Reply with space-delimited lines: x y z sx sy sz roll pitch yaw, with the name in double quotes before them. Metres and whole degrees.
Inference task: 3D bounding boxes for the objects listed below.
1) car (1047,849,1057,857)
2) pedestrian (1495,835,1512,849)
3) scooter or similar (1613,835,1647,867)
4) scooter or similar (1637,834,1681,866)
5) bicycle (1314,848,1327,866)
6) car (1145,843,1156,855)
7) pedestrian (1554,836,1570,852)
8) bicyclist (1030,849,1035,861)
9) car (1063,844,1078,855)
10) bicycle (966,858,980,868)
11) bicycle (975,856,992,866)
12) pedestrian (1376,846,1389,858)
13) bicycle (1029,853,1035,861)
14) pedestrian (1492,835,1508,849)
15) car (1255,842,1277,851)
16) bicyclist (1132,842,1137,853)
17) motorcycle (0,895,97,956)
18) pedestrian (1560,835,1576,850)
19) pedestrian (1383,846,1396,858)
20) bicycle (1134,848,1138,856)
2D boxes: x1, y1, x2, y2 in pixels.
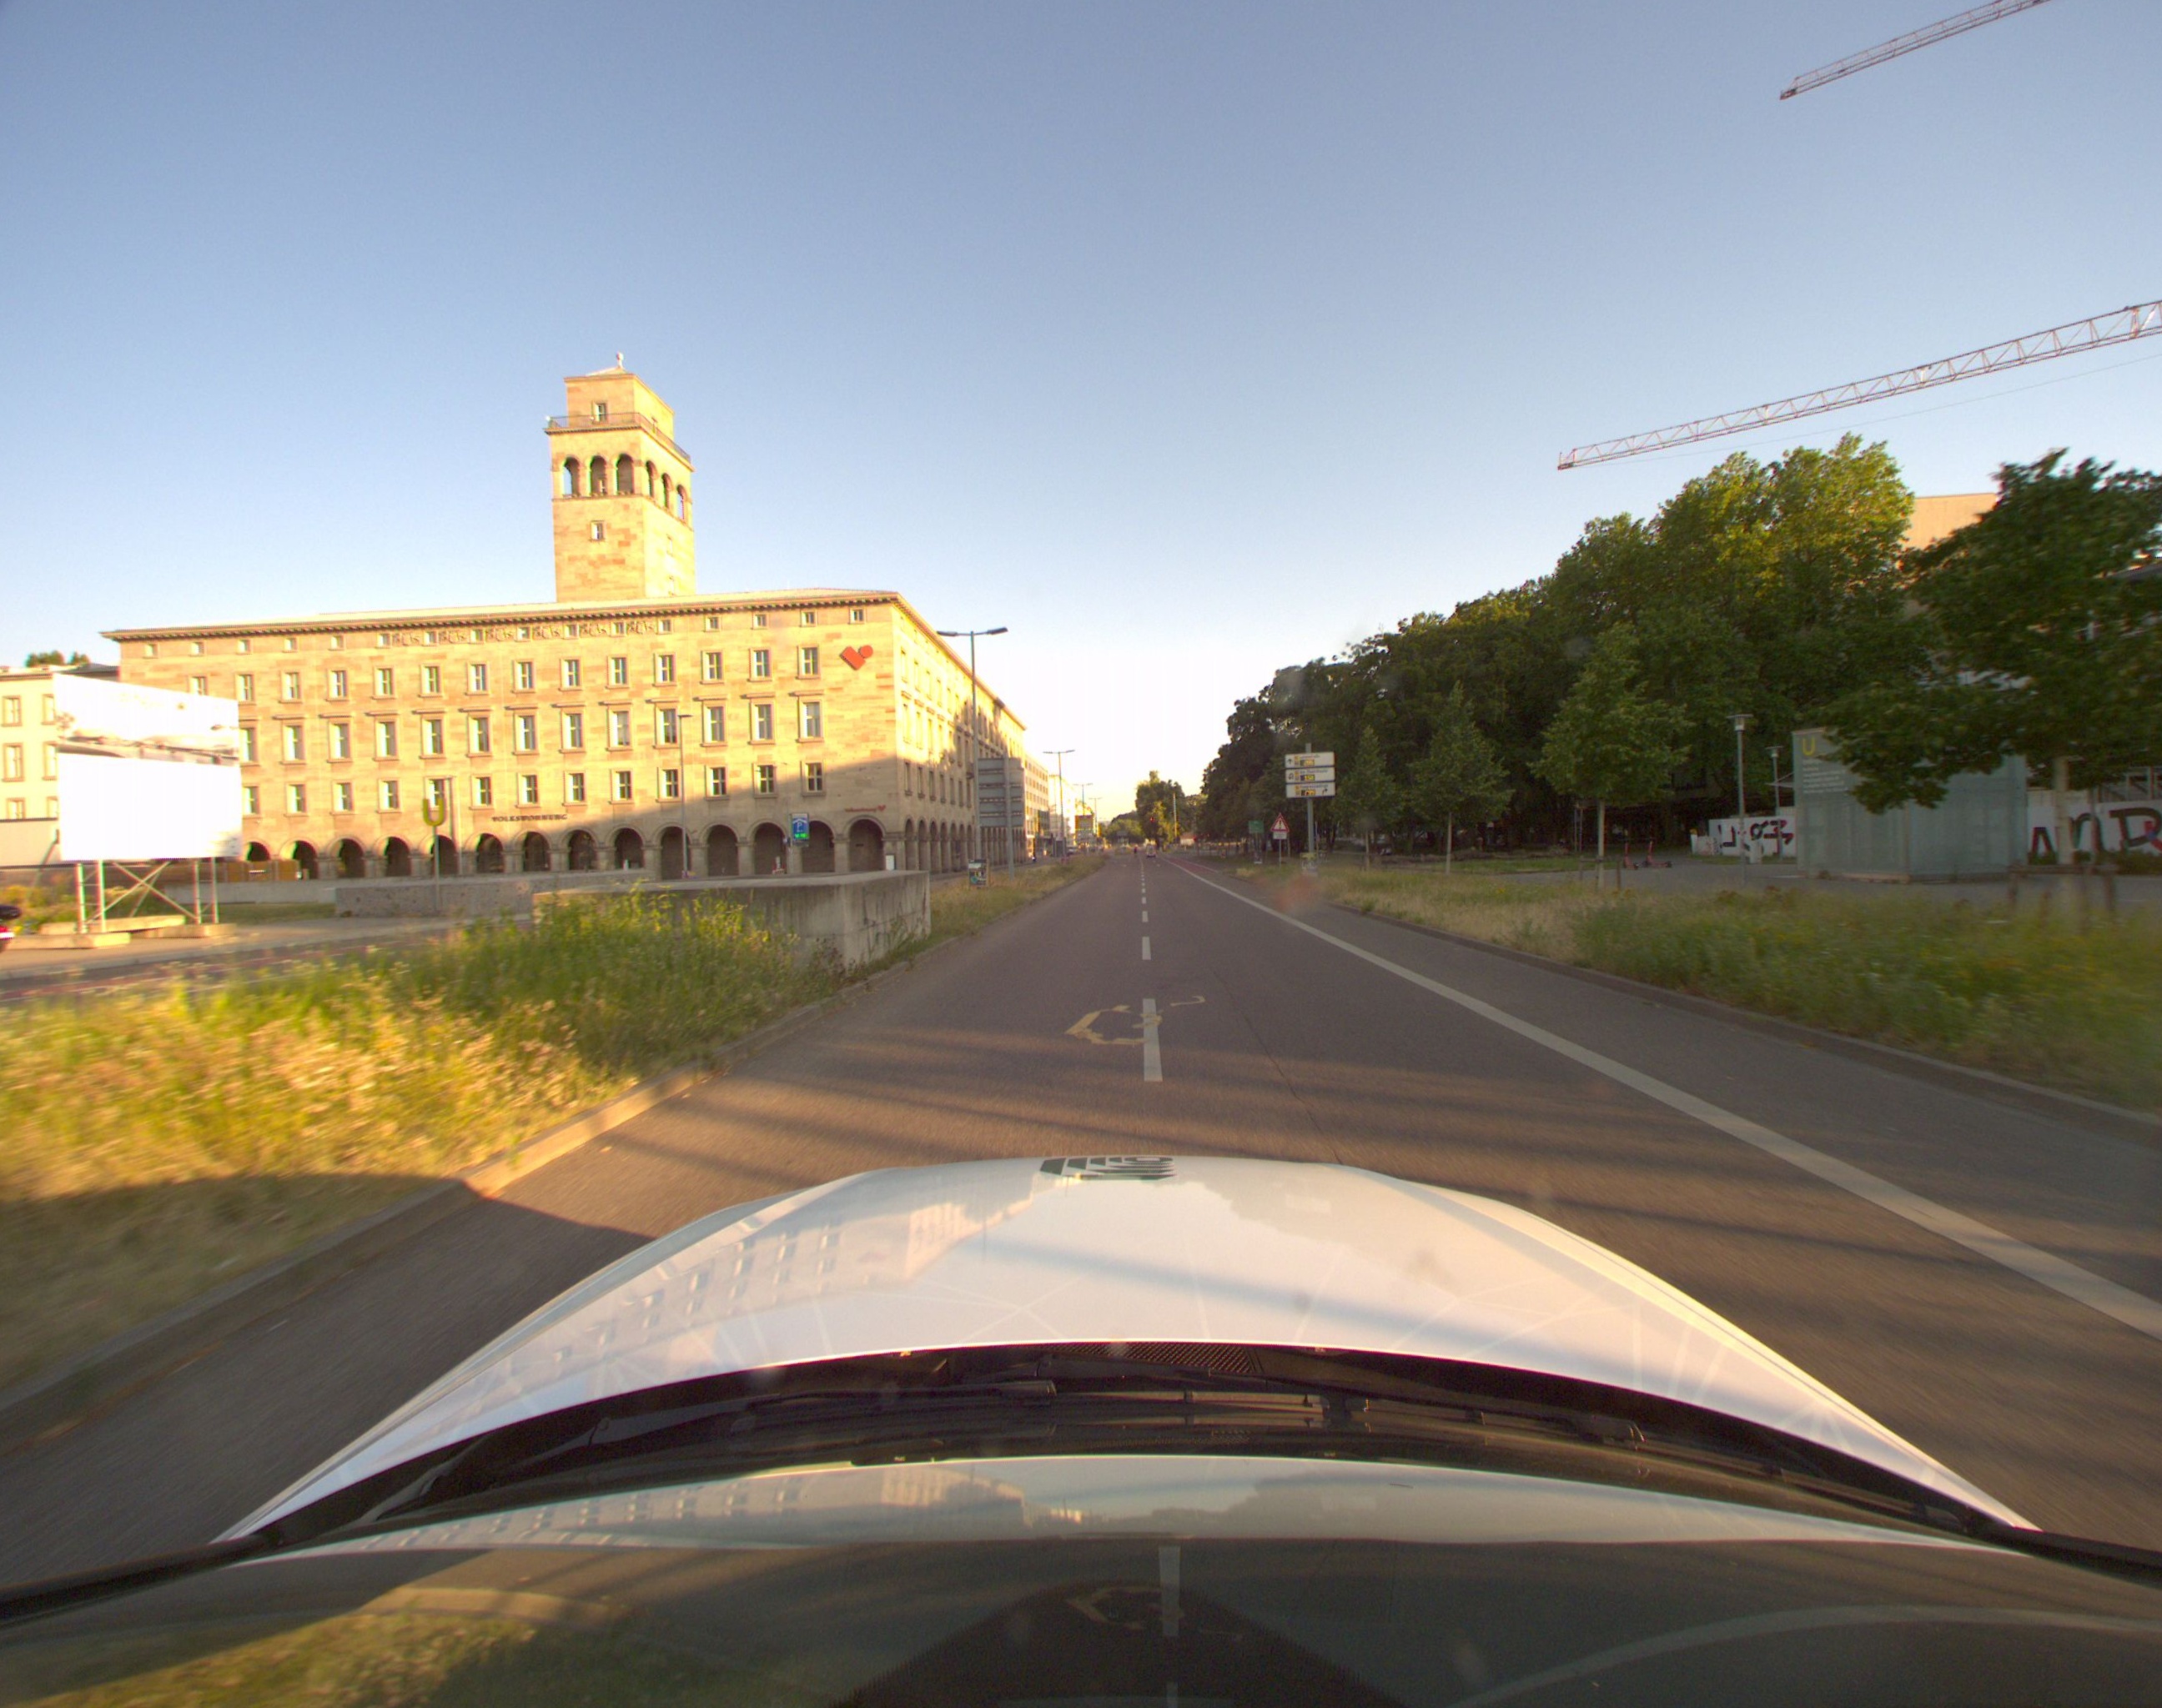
"car" -6.489 -0.227 180.028 1.789 1.475 4.002 -2 -2 3
"pedestrian" 38.401 -1.076 74.003 1.126 1.260 0.907 -2 0 6
"scooter or similar" 21.569 -0.130 32.025 0.421 1.220 1.400 -5 0 4
"scooter or similar" 22.736 -0.164 32.047 0.472 1.220 1.573 -5 0 -3
"bicycle" 15.270 0.178 51.949 0.490 1.005 1.909 -5 0 23
"car" 10.275 -0.729 120.467 1.452 1.780 2.569 -2 0 6
"pedestrian" 38.000 -0.782 64.333 0.784 1.164 0.766 -2 0 -2
"bicyclist" -6.731 0.117 111.967 0.534 1.693 0.749 -2 0 3
"car" -2.615 -1.164 211.019 2.160 2.385 6.013 -3 -2 15
"bicycle" -11.320 0.905 85.049 0.473 1.005 2.016 -2 1 22
"bicycle" -10.801 0.772 90.072 0.472 1.005 2.018 -2 1 39
"pedestrian" 23.751 -0.135 64.125 0.681 0.884 0.589 -2 0 -21
"bicycle" -6.719 0.451 111.967 0.539 1.005 2.007 -2 0 4
"pedestrian" 38.560 -1.101 74.947 1.126 1.260 0.727 -2 0 6
"car" 35.576 -1.526 156.547 3.966 1.574 2.004 -2 0 6
"bicyclist" 8.002 -0.976 121.186 0.625 1.693 0.749 -2 0 3
"motorcycle" -26.039 1.739 19.799 3.221 1.383 0.840 -1 0 1
"pedestrian" 37.953 -0.884 63.481 0.784 1.164 0.766 -2 0 -2
"pedestrian" 24.041 -0.143 63.517 0.681 0.884 0.619 -2 0 -20
"bicycle" 8.192 -0.326 121.365 0.634 1.069 2.071 -1 1 4
